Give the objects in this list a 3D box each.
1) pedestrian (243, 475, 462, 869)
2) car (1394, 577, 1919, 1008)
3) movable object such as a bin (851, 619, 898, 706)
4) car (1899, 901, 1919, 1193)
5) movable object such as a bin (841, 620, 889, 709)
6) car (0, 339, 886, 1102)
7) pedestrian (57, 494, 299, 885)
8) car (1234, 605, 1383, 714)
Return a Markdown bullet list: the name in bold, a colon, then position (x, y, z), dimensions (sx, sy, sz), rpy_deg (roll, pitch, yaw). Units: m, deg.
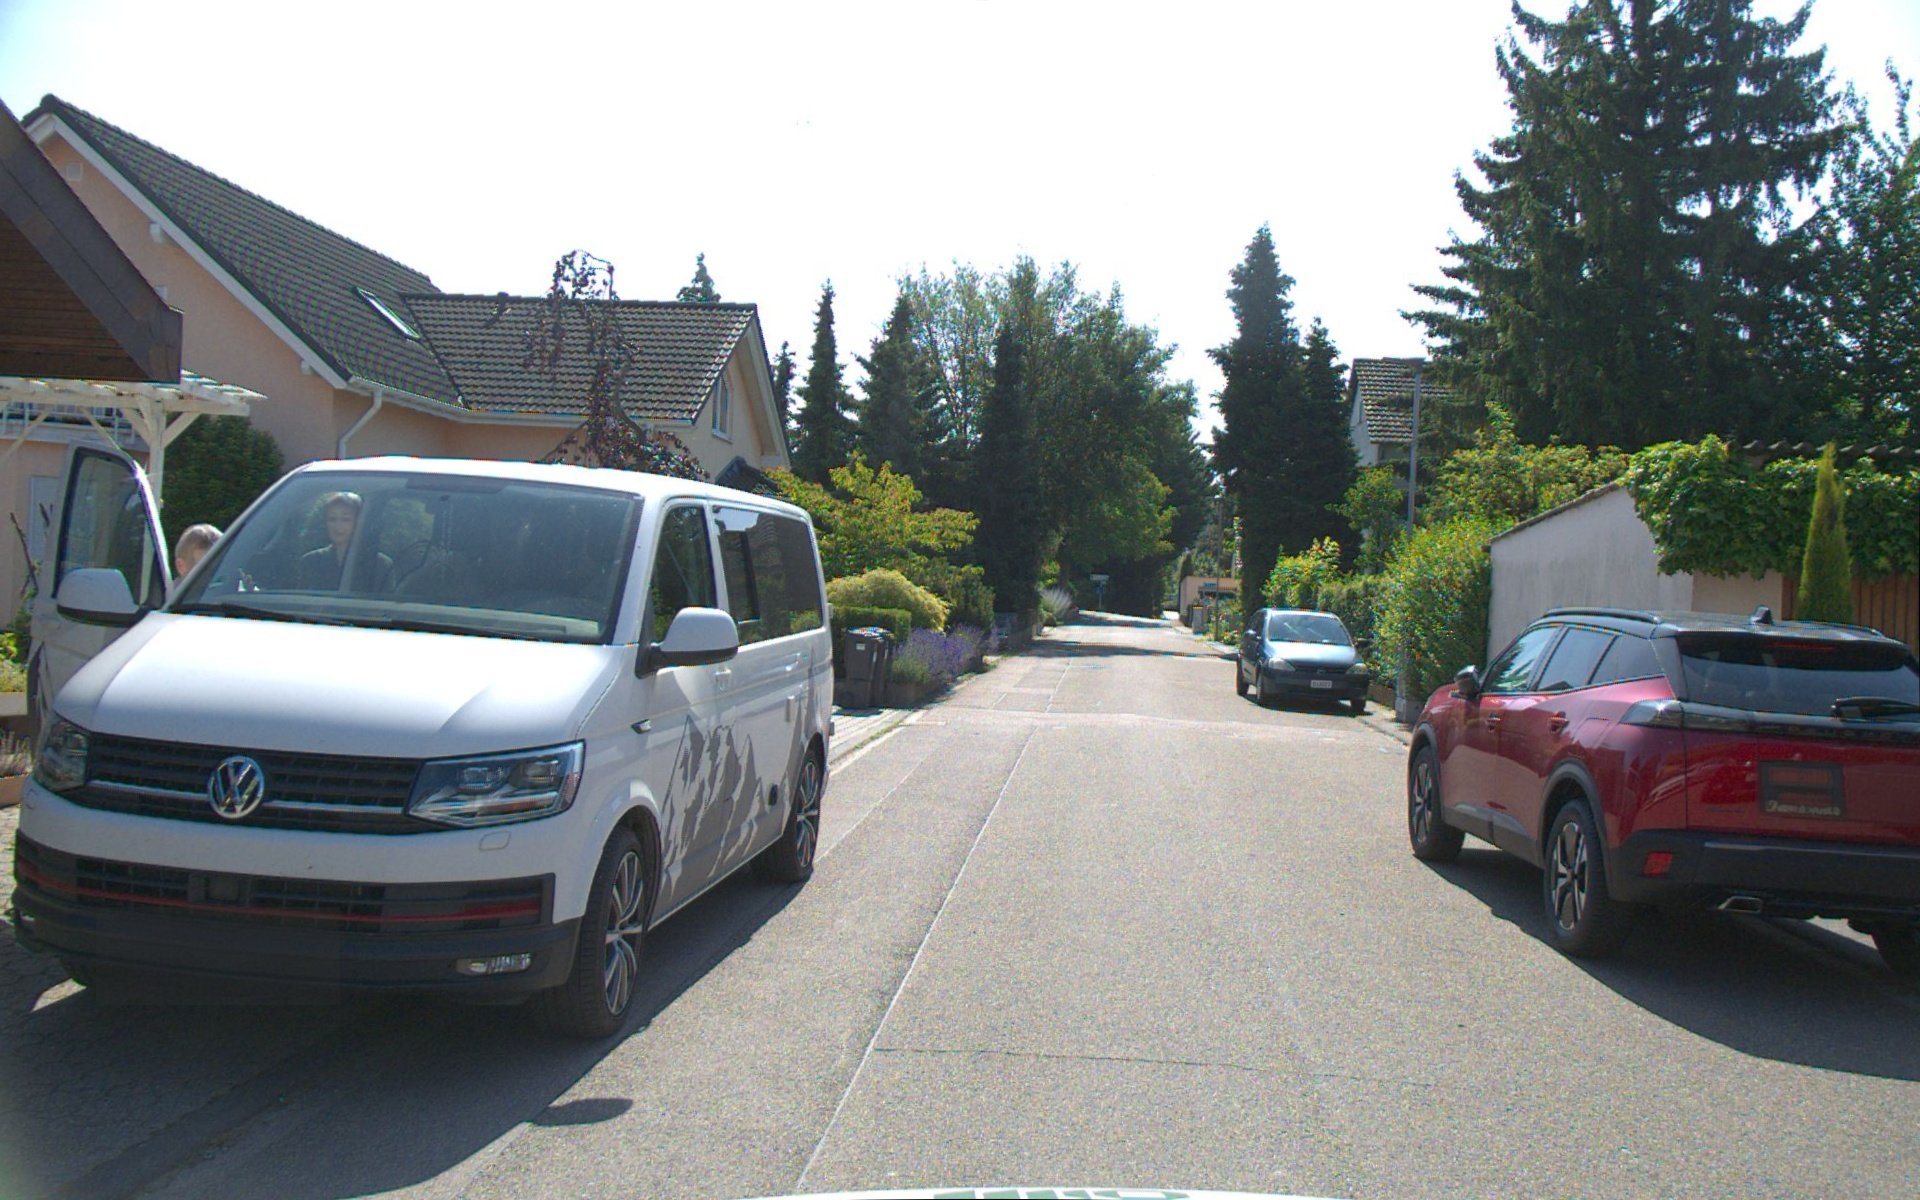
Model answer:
- **pedestrian**: position (-2.895, 0.316, 7.891), dimensions (0.678, 1.761, 0.639), rpy_deg (4, 1, 36)
- **car**: position (3.645, 0.780, 8.625), dimensions (1.785, 1.643, 4.001), rpy_deg (4, 0, 3)
- **movable object such as a bin**: position (-1.065, 0.779, 20.698), dimensions (0.484, 1.042, 0.448), rpy_deg (2, 0, 5)
- **car**: position (3.173, 0.880, 2.389), dimensions (1.738, 1.505, 4.003), rpy_deg (5, 0, 8)
- **movable object such as a bin**: position (-1.161, 0.784, 20.242), dimensions (0.484, 1.042, 0.448), rpy_deg (2, 0, 5)
- **car**: position (-1.694, 0.318, 7.118), dimensions (1.888, 2.048, 4.899), rpy_deg (3, 0, 7)
- **pedestrian**: position (-3.376, 0.355, 7.142), dimensions (0.706, 1.565, 0.639), rpy_deg (4, 1, 38)
- **car**: position (5.339, 0.860, 25.787), dimensions (1.667, 1.424, 4.002), rpy_deg (4, 0, 4)
